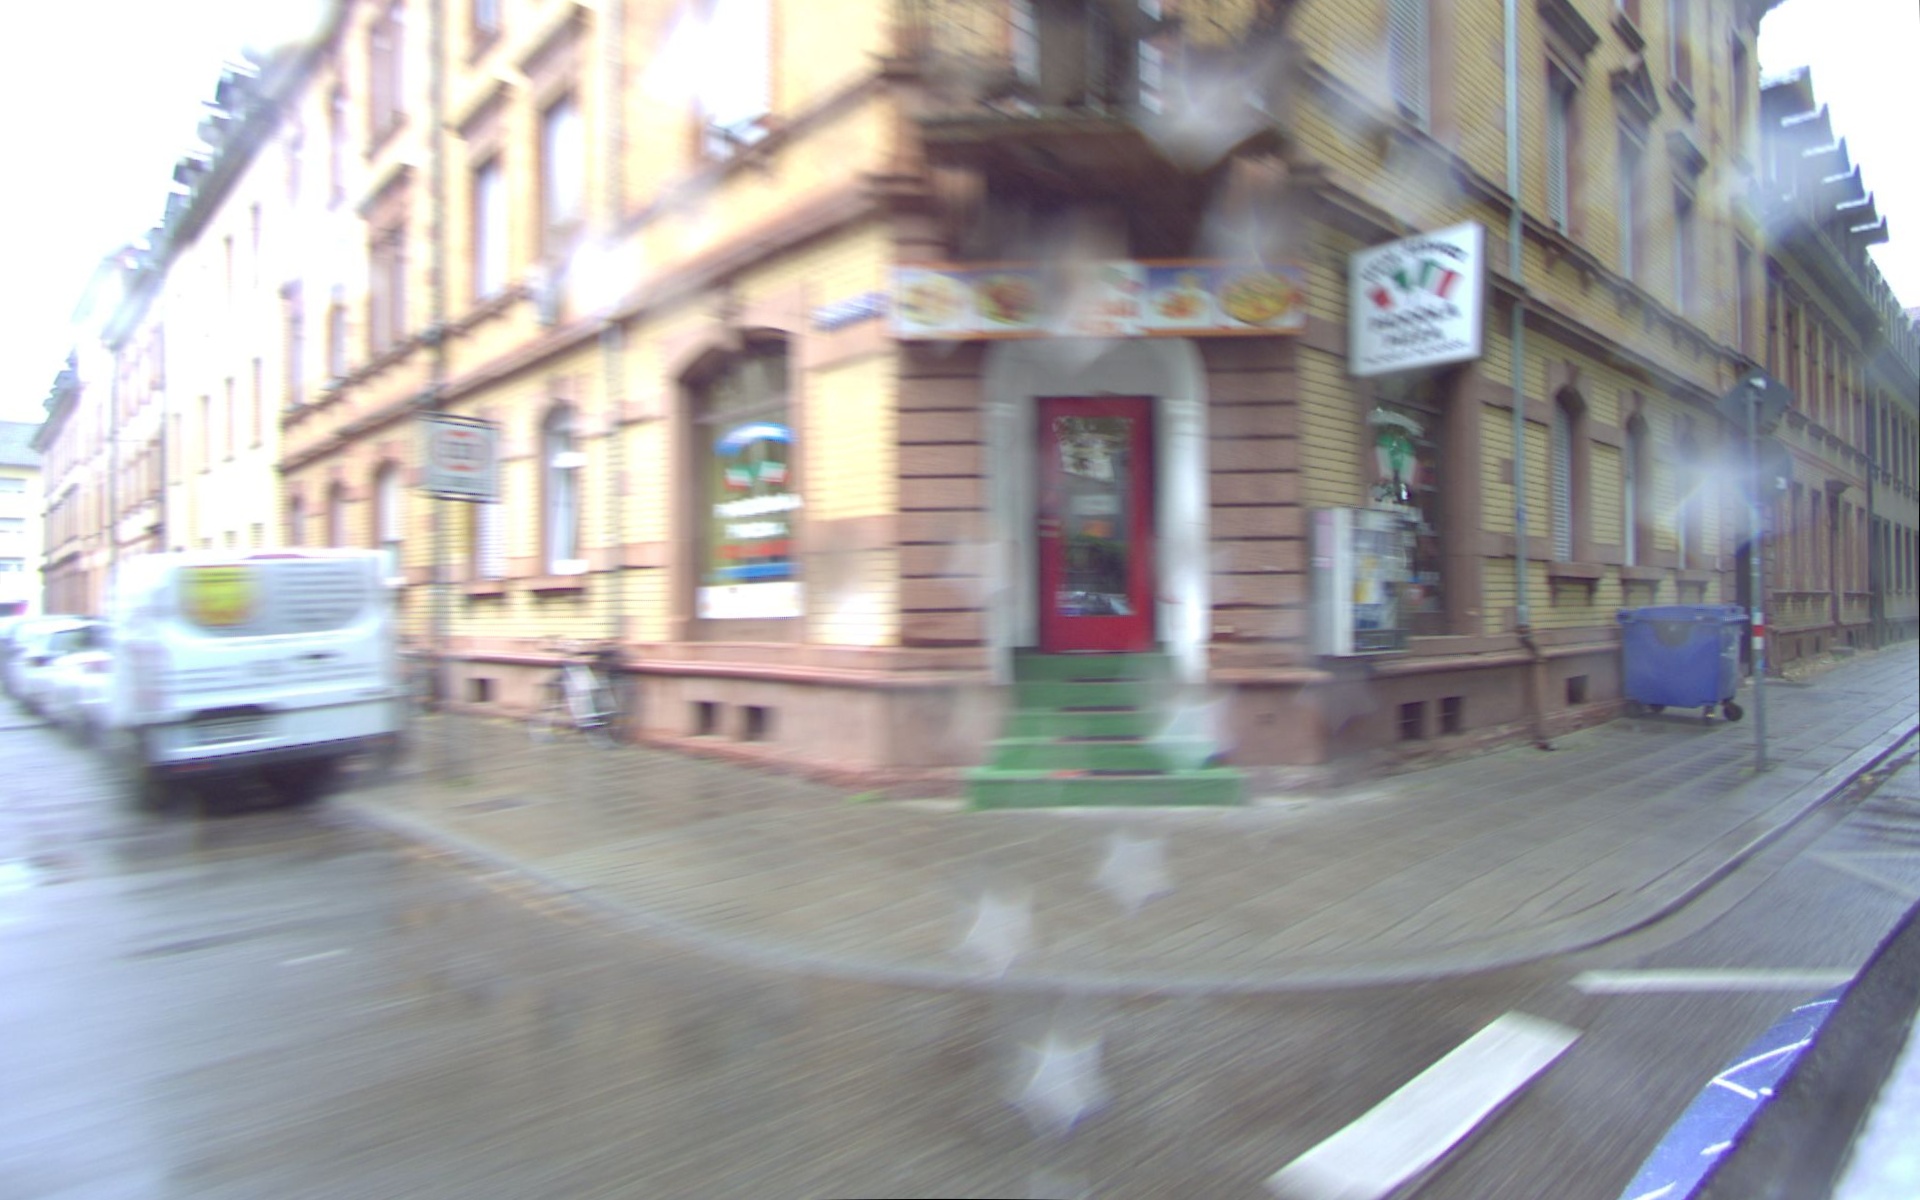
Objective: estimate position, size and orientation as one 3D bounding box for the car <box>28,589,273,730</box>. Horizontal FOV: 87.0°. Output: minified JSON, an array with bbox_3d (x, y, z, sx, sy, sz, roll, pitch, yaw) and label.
[{"bbox_3d":[-10.866,0.718,13.475,4.226,1.505,1.905,-2,1,43],"label":"car"}]

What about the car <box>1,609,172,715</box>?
[{"bbox_3d":[-15.103,0.987,17.420,1.903,1.505,4.229,-3,1,-45],"label":"car"}]

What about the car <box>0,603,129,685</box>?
[{"bbox_3d":[-19.306,0.895,21.686,1.903,1.505,4.229,-3,1,-45],"label":"car"}]

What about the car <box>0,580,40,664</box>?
[{"bbox_3d":[-35.508,0.860,37.031,5.733,2.905,2.311,-2,0,44],"label":"car"}]

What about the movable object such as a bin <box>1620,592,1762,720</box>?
[{"bbox_3d":[8.395,0.595,11.613,1.343,1.318,1.023,-1,2,-41],"label":"movable object such as a bin"}]

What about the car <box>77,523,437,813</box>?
[{"bbox_3d":[-6.521,0.472,9.174,1.904,1.967,4.230,-5,2,-44],"label":"car"}]

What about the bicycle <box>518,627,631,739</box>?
[{"bbox_3d":[-3.846,0.784,10.027,1.537,1.020,0.428,-1,-1,44],"label":"bicycle"}]
